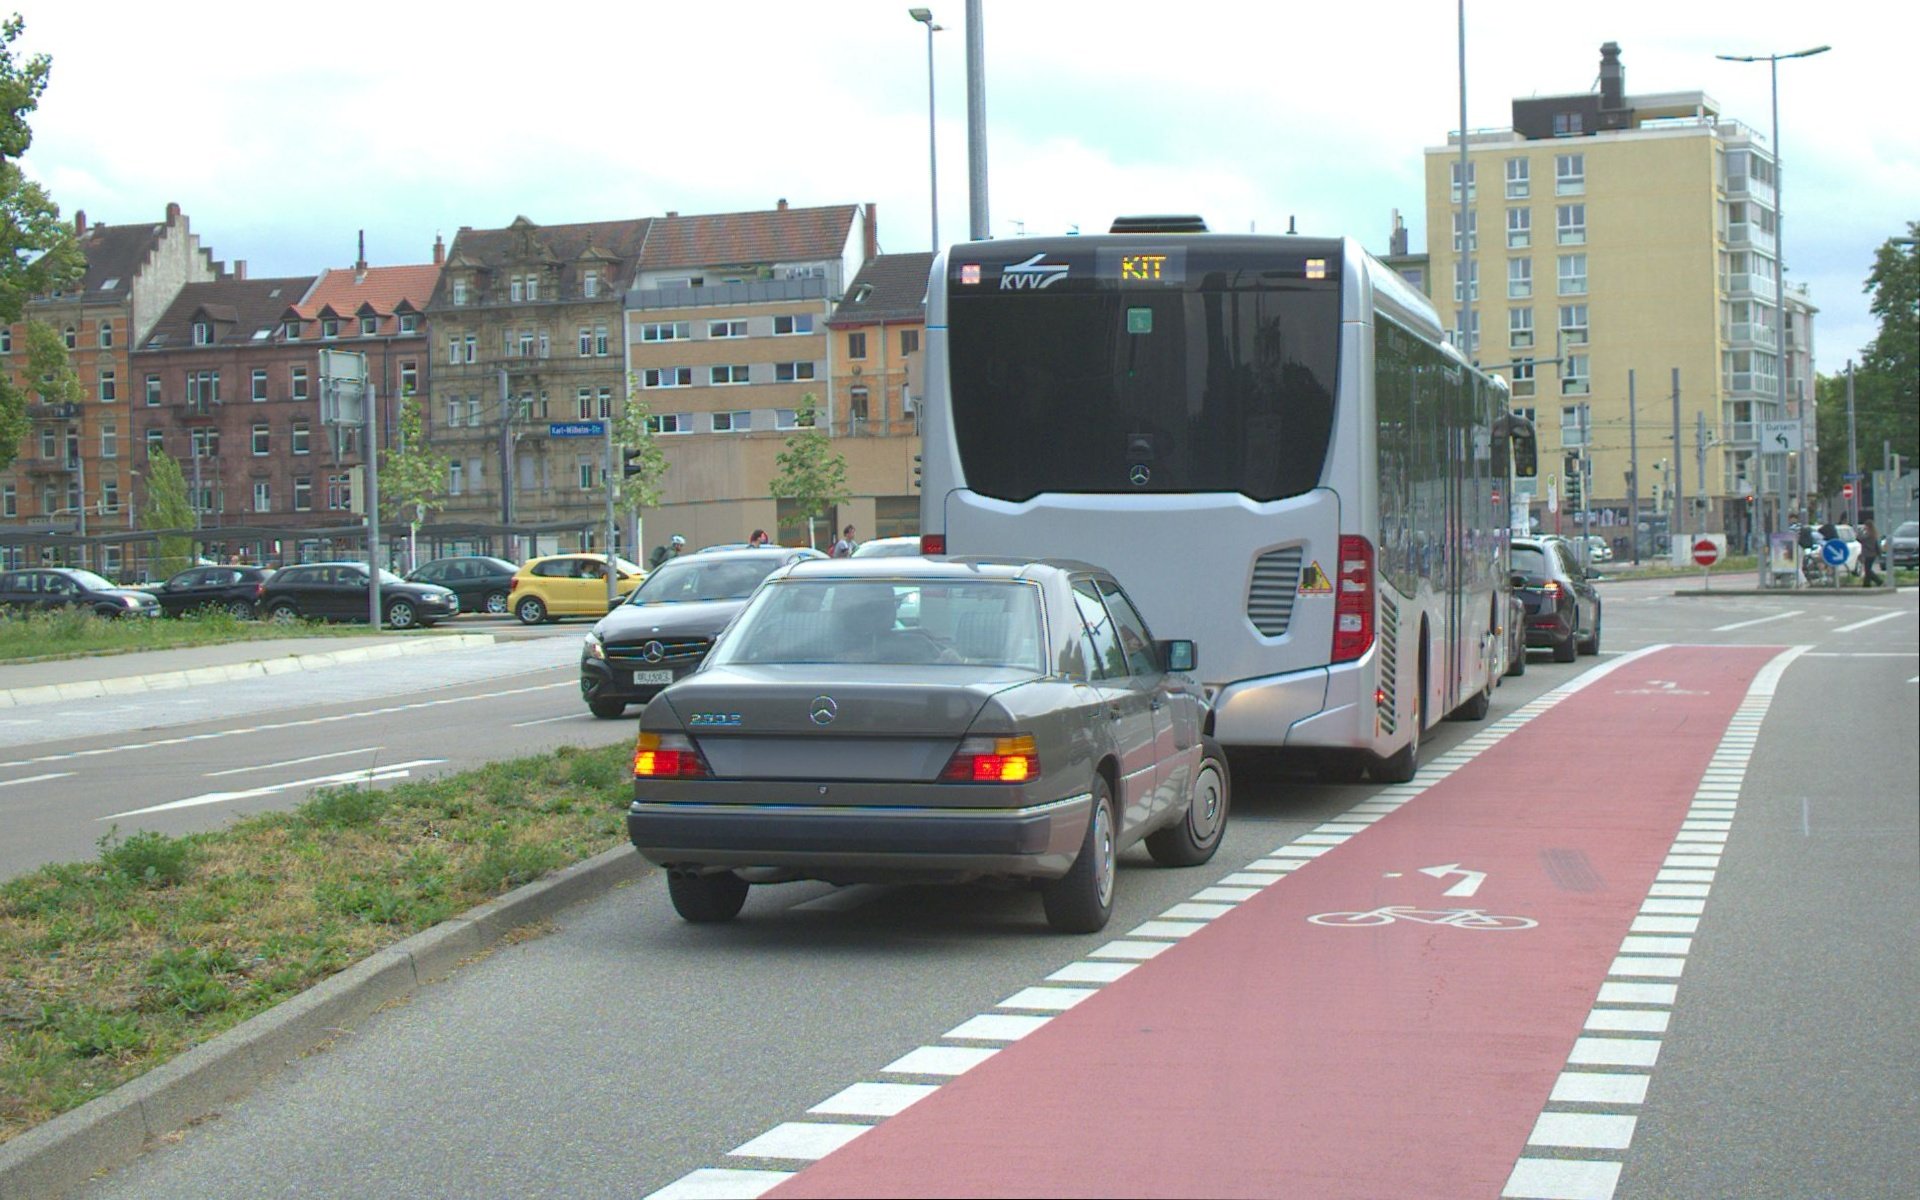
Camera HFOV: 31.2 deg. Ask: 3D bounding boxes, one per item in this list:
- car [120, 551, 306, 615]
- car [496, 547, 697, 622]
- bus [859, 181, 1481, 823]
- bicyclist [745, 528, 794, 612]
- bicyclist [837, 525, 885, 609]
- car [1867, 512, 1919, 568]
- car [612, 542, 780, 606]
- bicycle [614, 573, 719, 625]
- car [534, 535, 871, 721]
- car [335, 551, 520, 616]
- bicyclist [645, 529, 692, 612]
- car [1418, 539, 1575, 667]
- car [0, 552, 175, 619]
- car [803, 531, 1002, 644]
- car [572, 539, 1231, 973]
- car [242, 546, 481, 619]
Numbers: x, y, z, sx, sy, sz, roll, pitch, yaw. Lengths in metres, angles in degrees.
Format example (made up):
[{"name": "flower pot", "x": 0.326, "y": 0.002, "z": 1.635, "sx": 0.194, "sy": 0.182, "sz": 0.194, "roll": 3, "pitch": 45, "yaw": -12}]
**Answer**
[{"name": "car", "x": -16.817, "y": -0.387, "z": 77.448, "sx": 3.764, "sy": 1.389, "sz": 1.584, "roll": 0, "pitch": 1, "yaw": 9}, {"name": "car", "x": -7.562, "y": -0.340, "z": 71.691, "sx": 3.858, "sy": 1.512, "sz": 1.660, "roll": 0, "pitch": 1, "yaw": 9}, {"name": "bus", "x": 1.709, "y": -0.600, "z": 22.407, "sx": 2.833, "sy": 3.378, "sz": 8.179, "roll": -1, "pitch": 1, "yaw": 12}, {"name": "bicyclist", "x": -3.772, "y": -0.606, "z": 68.172, "sx": 0.787, "sy": 1.637, "sz": 0.572, "roll": -1, "pitch": 1, "yaw": 13}, {"name": "bicyclist", "x": -1.944, "y": -0.651, "z": 67.448, "sx": 0.787, "sy": 1.637, "sz": 0.613, "roll": -1, "pitch": 1, "yaw": 11}, {"name": "car", "x": 32.138, "y": -2.058, "z": 116.386, "sx": 1.809, "sy": 1.844, "sz": 3.994, "roll": -1, "pitch": 1, "yaw": 30}, {"name": "car", "x": -5.847, "y": -0.578, "z": 76.237, "sx": 3.672, "sy": 1.389, "sz": 1.585, "roll": 0, "pitch": 1, "yaw": -4}, {"name": "bicycle", "x": -5.891, "y": -0.023, "z": 69.019, "sx": 1.965, "sy": 0.978, "sz": 0.631, "roll": -1, "pitch": 1, "yaw": 9}, {"name": "car", "x": -2.273, "y": 0.210, "z": 31.653, "sx": 1.755, "sy": 1.484, "sz": 4.375, "roll": -2, "pitch": 1, "yaw": 14}, {"name": "car", "x": -11.879, "y": -0.378, "z": 76.777, "sx": 3.764, "sy": 1.389, "sz": 1.584, "roll": 0, "pitch": 1, "yaw": 9}, {"name": "bicyclist", "x": -5.847, "y": -0.591, "z": 69.007, "sx": 0.786, "sy": 1.637, "sz": 0.572, "roll": -1, "pitch": 1, "yaw": 9}, {"name": "car", "x": 6.387, "y": 0.004, "z": 40.676, "sx": 1.656, "sy": 1.392, "sz": 3.858, "roll": -1, "pitch": 1, "yaw": 11}, {"name": "car", "x": -18.888, "y": -0.315, "z": 73.571, "sx": 3.764, "sy": 1.389, "sz": 1.584, "roll": 0, "pitch": 1, "yaw": 9}, {"name": "car", "x": -0.748, "y": -0.202, "z": 47.952, "sx": 1.698, "sy": 1.438, "sz": 4.173, "roll": -2, "pitch": 1, "yaw": 14}, {"name": "car", "x": -0.063, "y": 0.522, "z": 14.215, "sx": 1.762, "sy": 1.484, "sz": 4.169, "roll": -1, "pitch": 1, "yaw": 13}, {"name": "car", "x": -12.575, "y": -0.381, "z": 72.366, "sx": 4.671, "sy": 1.470, "sz": 1.660, "roll": 0, "pitch": 1, "yaw": 9}]
